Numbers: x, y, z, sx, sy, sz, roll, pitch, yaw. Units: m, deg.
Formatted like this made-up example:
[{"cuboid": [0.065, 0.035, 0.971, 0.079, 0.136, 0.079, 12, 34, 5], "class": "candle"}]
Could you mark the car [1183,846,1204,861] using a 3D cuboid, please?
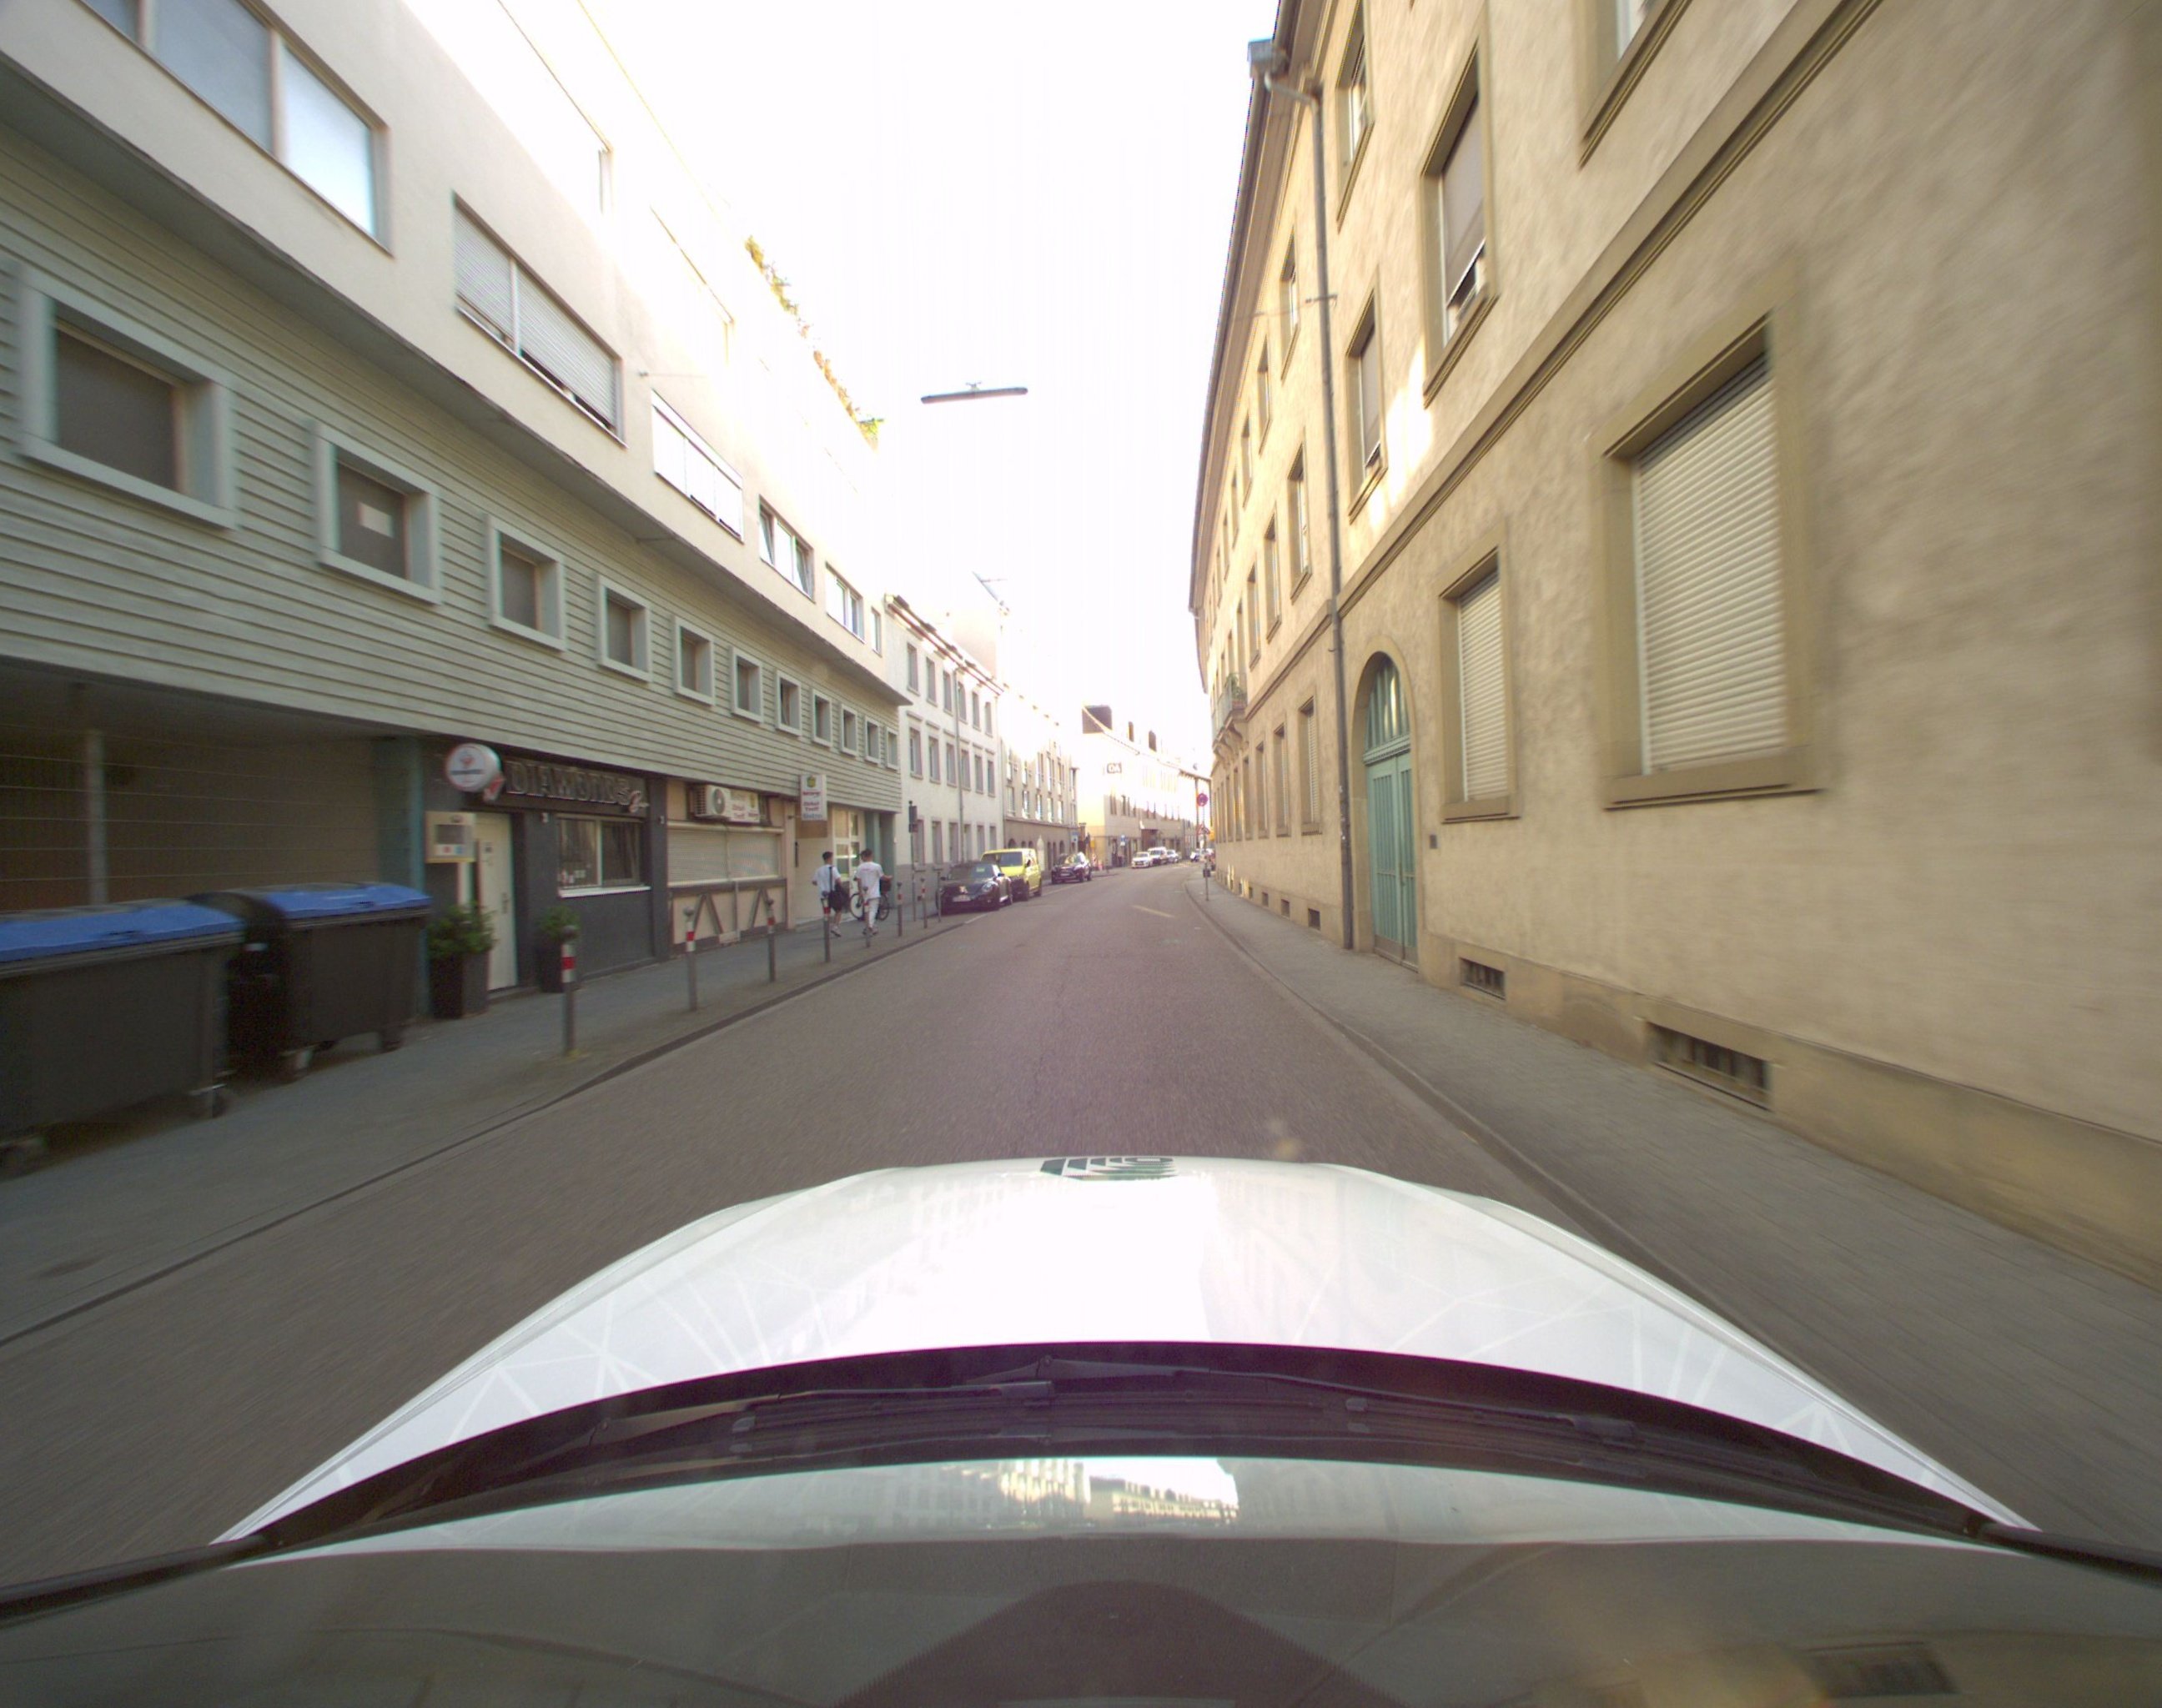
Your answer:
[{"cuboid": [12.299, -0.080, 89.467, 1.708, 1.578, 4.191, -2, 0, 1], "class": "car"}]

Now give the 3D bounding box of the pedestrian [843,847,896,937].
[{"cuboid": [-4.248, 0.744, 16.409, 0.695, 1.734, 0.830, -4, 0, 4], "class": "pedestrian"}]

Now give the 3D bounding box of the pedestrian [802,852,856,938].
[{"cuboid": [-5.072, 0.807, 16.456, 0.669, 1.669, 0.895, -3, 0, 4], "class": "pedestrian"}]

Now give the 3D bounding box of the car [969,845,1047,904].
[{"cuboid": [-2.638, 0.692, 30.539, 1.871, 1.866, 4.872, -5, 0, 6], "class": "car"}]

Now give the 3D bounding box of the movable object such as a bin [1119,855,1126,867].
[{"cuboid": [4.034, 0.673, 78.494, 0.605, 1.060, 0.715, 0, 0, 8], "class": "movable object such as a bin"}]

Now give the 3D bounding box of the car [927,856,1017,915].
[{"cuboid": [-3.225, 0.885, 24.911, 1.811, 1.486, 4.081, -5, 0, 4], "class": "car"}]

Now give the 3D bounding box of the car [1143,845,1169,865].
[{"cuboid": [7.606, 0.120, 82.631, 1.657, 1.818, 4.572, -4, 0, 17], "class": "car"}]

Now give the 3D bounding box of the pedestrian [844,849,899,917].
[{"cuboid": [-5.530, 0.762, 21.489, 1.068, 1.728, 0.807, -2, 0, 26], "class": "pedestrian"}]

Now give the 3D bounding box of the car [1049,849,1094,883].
[{"cuboid": [-0.482, 0.660, 46.816, 1.729, 1.711, 4.202, -5, 0, 10], "class": "car"}]

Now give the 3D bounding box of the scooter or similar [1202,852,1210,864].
[{"cuboid": [11.786, 0.336, 76.781, 0.765, 1.136, 0.270, 0, 0, 13], "class": "scooter or similar"}]

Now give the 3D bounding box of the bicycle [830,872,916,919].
[{"cuboid": [-5.487, 1.102, 21.474, 2.108, 1.163, 0.828, -2, 0, 26], "class": "bicycle"}]

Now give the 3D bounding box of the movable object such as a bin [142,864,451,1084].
[{"cuboid": [-6.264, 0.890, 6.634, 1.118, 1.520, 1.343, -2, 1, 2], "class": "movable object such as a bin"}]

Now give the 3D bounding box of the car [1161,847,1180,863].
[{"cuboid": [9.744, 0.092, 88.543, 1.261, 1.507, 3.417, -4, 0, 18], "class": "car"}]

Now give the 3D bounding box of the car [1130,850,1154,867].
[{"cuboid": [5.810, 0.406, 76.984, 1.659, 1.507, 3.806, -4, 0, 12], "class": "car"}]

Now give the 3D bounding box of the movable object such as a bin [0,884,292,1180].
[{"cuboid": [-6.147, 0.987, 5.043, 0.965, 1.471, 1.475, -2, 1, 2], "class": "movable object such as a bin"}]
